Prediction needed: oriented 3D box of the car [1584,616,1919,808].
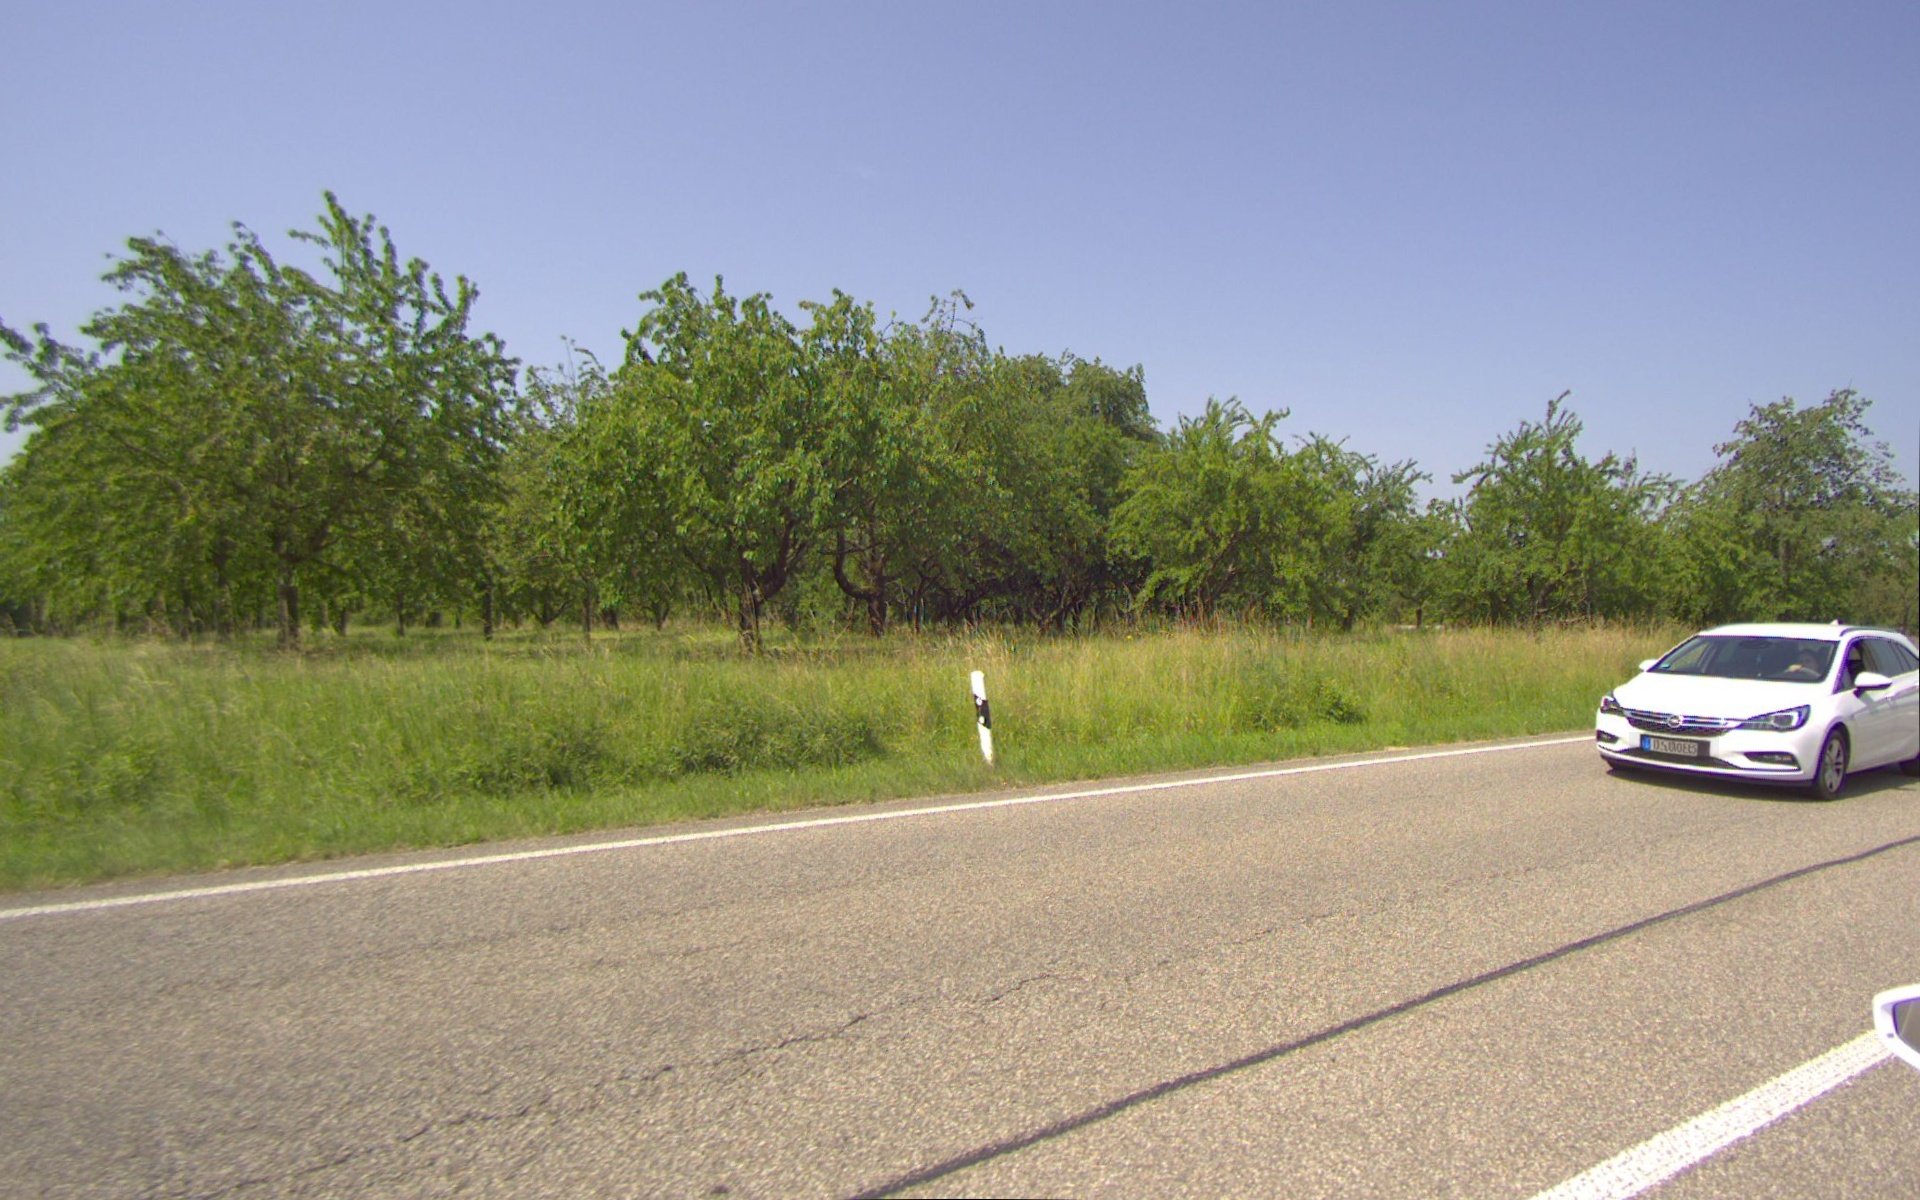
[{"bbox_3d":[8.110,0.968,9.954,4.092,1.514,1.665,2,0,-33],"label":"car"}]
